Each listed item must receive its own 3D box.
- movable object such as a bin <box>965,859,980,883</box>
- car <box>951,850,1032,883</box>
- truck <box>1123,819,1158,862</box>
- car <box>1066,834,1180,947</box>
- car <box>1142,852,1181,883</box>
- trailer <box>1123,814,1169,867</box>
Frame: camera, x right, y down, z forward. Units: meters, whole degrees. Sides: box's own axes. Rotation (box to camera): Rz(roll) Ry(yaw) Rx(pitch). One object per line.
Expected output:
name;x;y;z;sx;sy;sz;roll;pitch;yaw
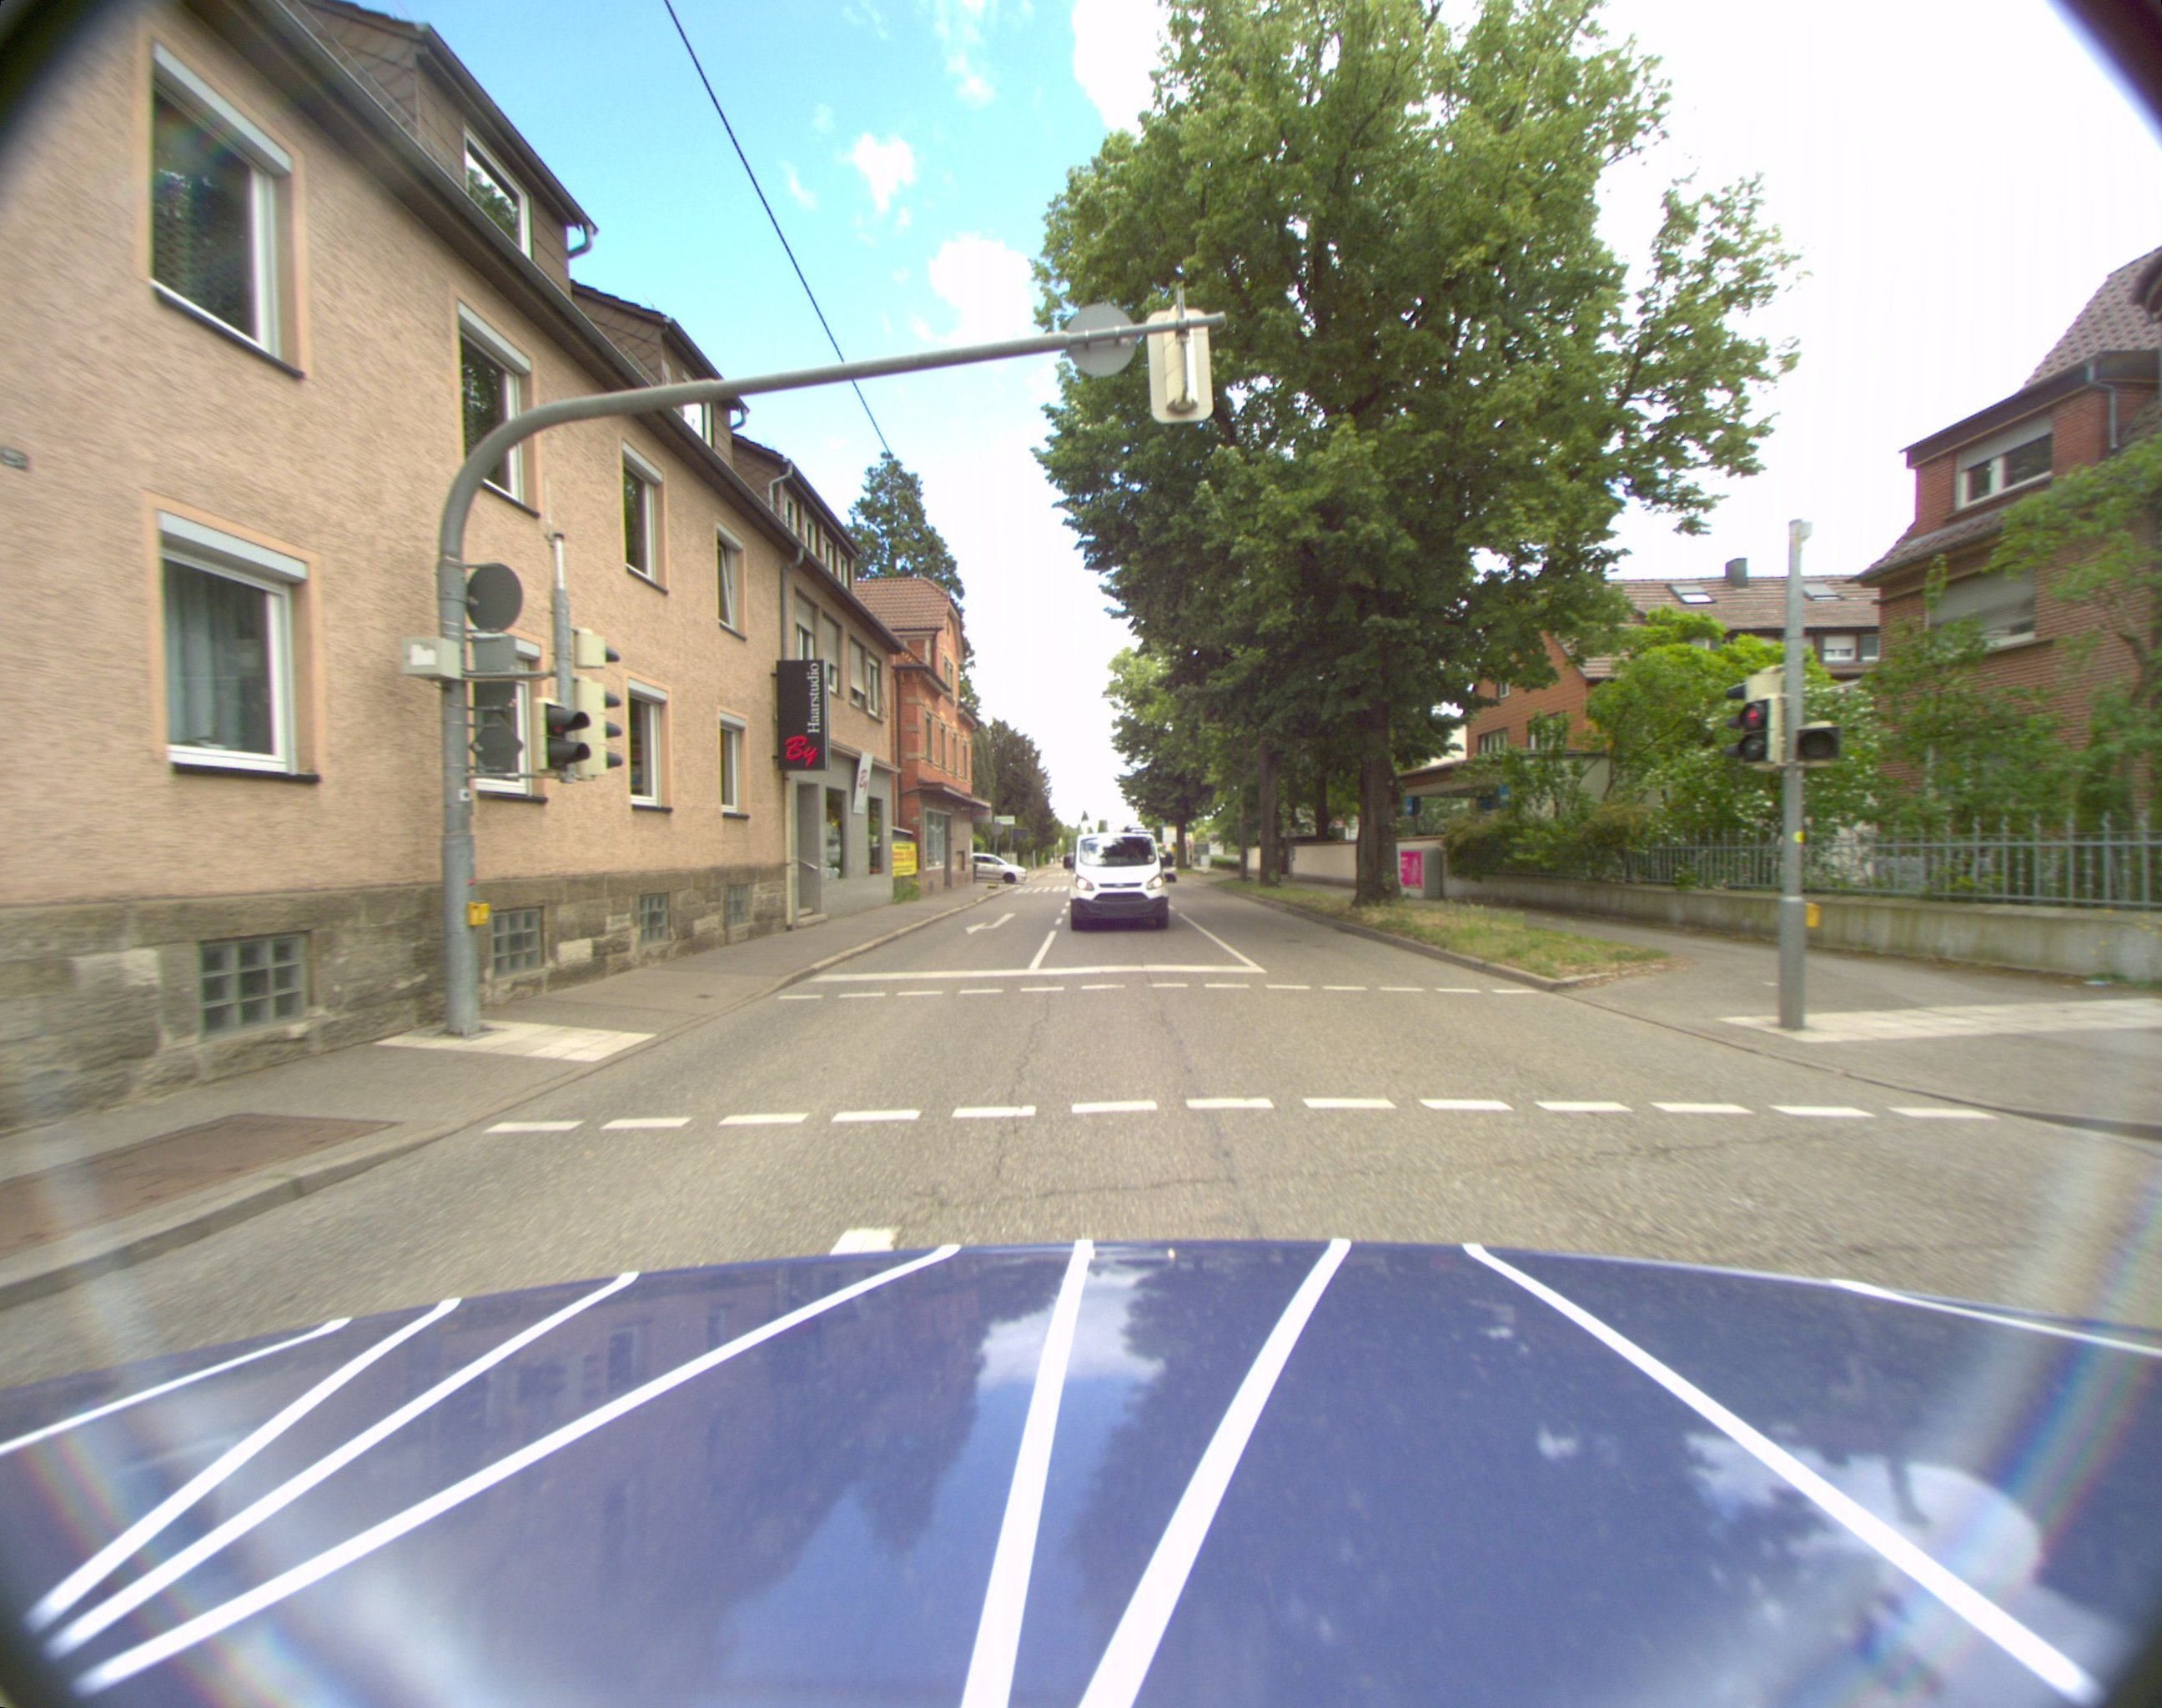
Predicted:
movable object such as a bin;-5.271;0.827;36.914;0.608;1.094;0.622;1;1;1
car;-4.703;0.653;40.209;4.039;1.462;1.600;3;1;-1
truck;5.470;-1.261;71.374;2.850;3.761;7.669;-2;1;2
car;0.765;0.609;16.509;1.998;1.961;5.714;-2;1;0
car;4.341;0.694;41.521;1.771;1.461;4.226;2;1;2
trailer;5.257;-1.128;63.534;2.865;3.786;14.389;-2;1;2
